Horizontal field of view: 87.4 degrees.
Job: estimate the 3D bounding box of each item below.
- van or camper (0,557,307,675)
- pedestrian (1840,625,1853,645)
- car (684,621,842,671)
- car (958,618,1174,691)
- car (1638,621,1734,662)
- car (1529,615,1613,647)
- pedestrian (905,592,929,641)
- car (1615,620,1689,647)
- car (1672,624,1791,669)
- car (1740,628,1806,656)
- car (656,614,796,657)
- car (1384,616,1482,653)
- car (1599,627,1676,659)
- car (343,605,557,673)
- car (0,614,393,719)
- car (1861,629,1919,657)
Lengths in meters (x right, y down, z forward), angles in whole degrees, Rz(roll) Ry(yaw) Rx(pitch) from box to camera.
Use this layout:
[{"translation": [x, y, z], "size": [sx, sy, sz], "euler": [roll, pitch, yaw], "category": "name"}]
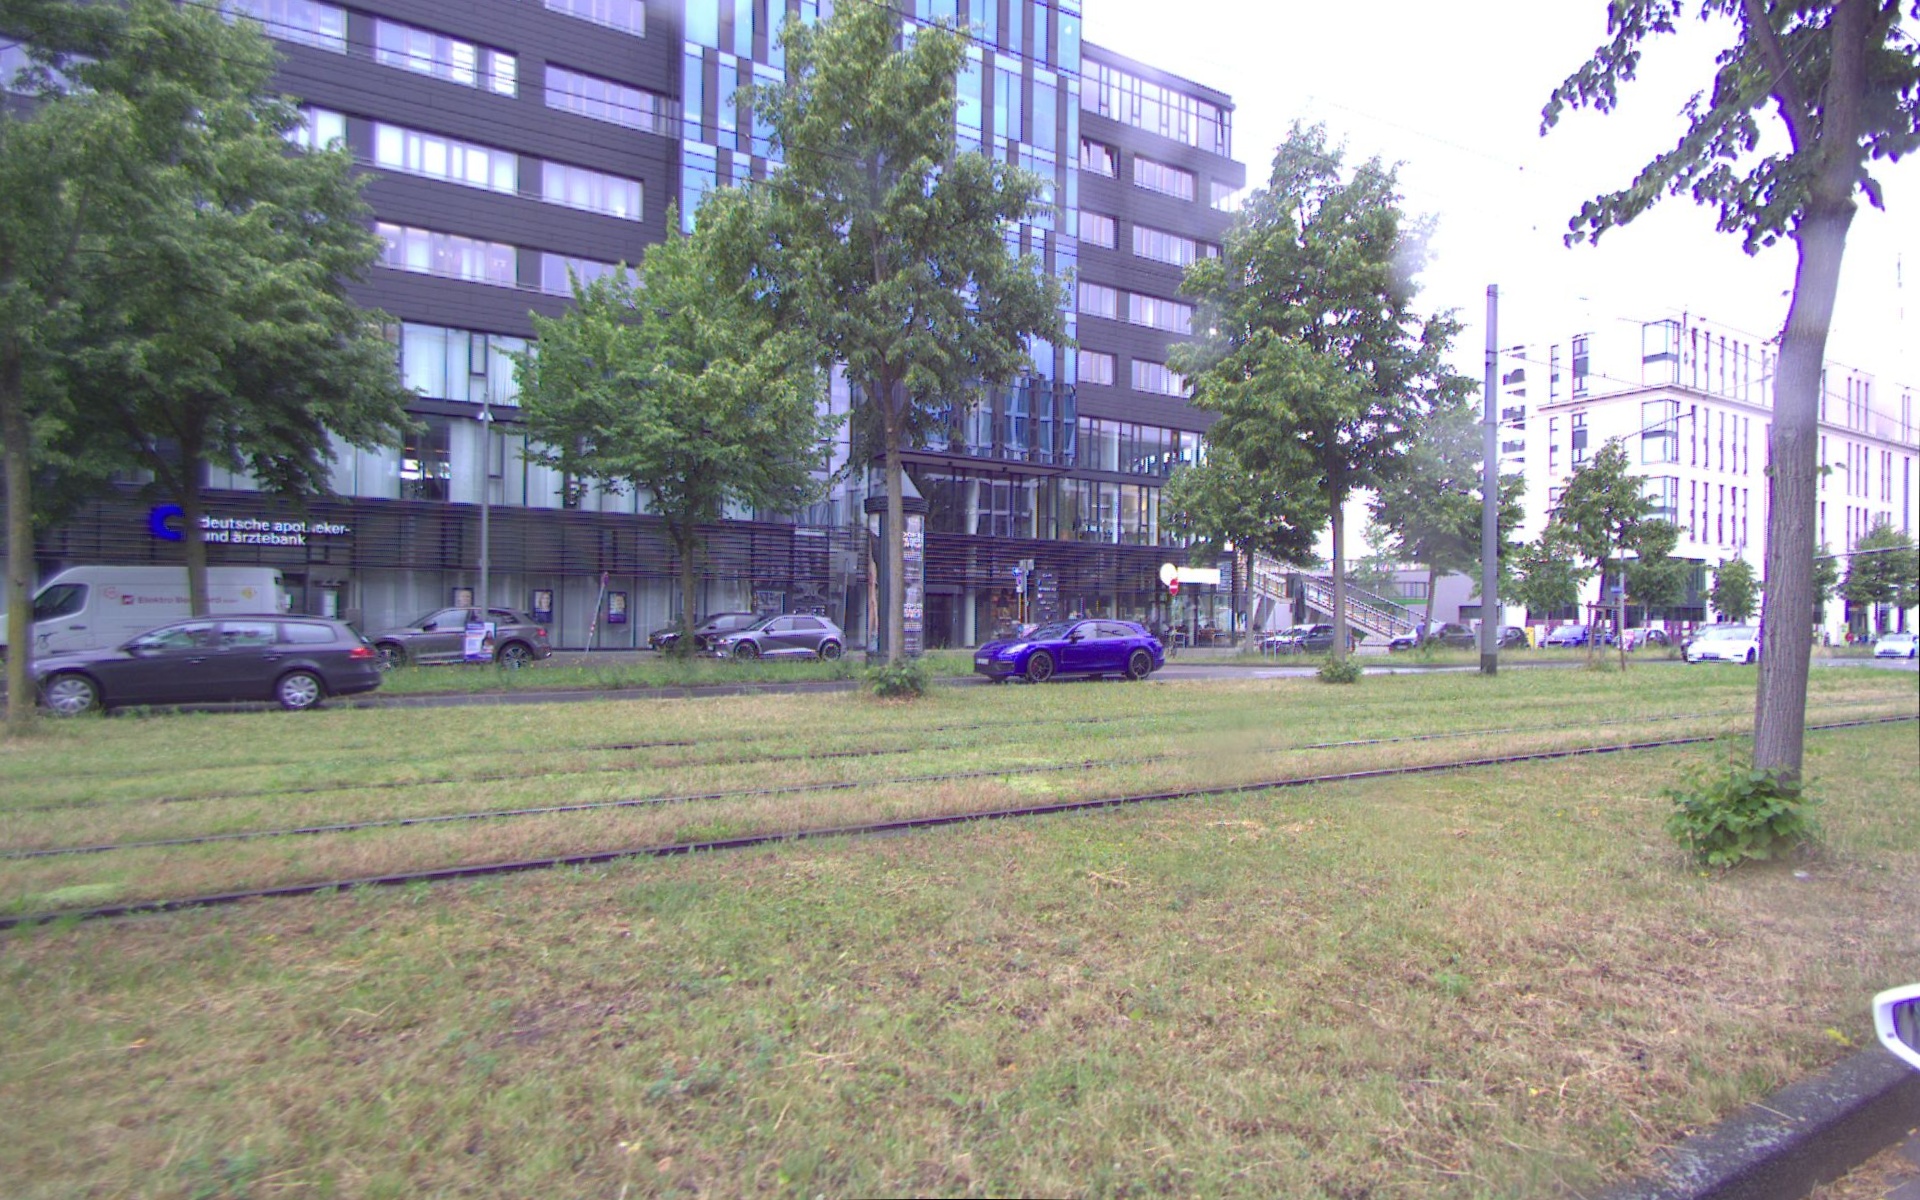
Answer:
[{"translation": [-17.812, 0.354, 21.937], "size": [5.781, 2.346, 2.421], "euler": [1, 0, -30], "category": "van or camper"}, {"translation": [77.993, 3.090, 88.384], "size": [0.732, 1.740, 0.632], "euler": [1, 0, -27], "category": "pedestrian"}, {"translation": [-6.393, 1.472, 32.774], "size": [4.677, 1.424, 1.984], "euler": [1, 1, -30], "category": "car"}, {"translation": [2.564, 1.239, 23.924], "size": [4.954, 1.542, 1.983], "euler": [1, 0, -32], "category": "car"}, {"translation": [30.995, 1.738, 42.857], "size": [3.955, 1.639, 1.983], "euler": [1, -1, -32], "category": "car"}, {"translation": [30.778, 1.566, 50.585], "size": [4.400, 1.504, 1.981], "euler": [1, 0, -34], "category": "car"}, {"translation": [-1.833, 0.703, 43.088], "size": [0.782, 2.040, 0.699], "euler": [1, 0, -28], "category": "pedestrian"}, {"translation": [41.322, 1.973, 59.969], "size": [4.394, 1.504, 1.983], "euler": [1, 0, -31], "category": "car"}, {"translation": [28.279, 1.682, 36.783], "size": [4.394, 1.504, 1.983], "euler": [1, 0, -31], "category": "car"}, {"translation": [50.219, 2.593, 62.034], "size": [3.955, 1.639, 1.983], "euler": [1, -1, -32], "category": "car"}, {"translation": [-8.049, 1.214, 34.651], "size": [4.398, 1.368, 1.742], "euler": [1, 0, -32], "category": "car"}, {"translation": [20.800, 1.505, 44.137], "size": [4.400, 1.504, 1.981], "euler": [1, 0, -34], "category": "car"}, {"translation": [36.819, 2.284, 54.555], "size": [4.400, 1.620, 1.981], "euler": [1, 0, -34], "category": "car"}, {"translation": [-12.611, 0.939, 24.949], "size": [4.555, 1.542, 1.983], "euler": [1, 0, -32], "category": "car"}, {"translation": [-11.615, 0.957, 15.661], "size": [4.816, 1.398, 1.984], "euler": [1, 0, -31], "category": "car"}, {"translation": [53.617, 2.438, 57.545], "size": [4.399, 1.504, 1.981], "euler": [1, 0, -34], "category": "car"}]
